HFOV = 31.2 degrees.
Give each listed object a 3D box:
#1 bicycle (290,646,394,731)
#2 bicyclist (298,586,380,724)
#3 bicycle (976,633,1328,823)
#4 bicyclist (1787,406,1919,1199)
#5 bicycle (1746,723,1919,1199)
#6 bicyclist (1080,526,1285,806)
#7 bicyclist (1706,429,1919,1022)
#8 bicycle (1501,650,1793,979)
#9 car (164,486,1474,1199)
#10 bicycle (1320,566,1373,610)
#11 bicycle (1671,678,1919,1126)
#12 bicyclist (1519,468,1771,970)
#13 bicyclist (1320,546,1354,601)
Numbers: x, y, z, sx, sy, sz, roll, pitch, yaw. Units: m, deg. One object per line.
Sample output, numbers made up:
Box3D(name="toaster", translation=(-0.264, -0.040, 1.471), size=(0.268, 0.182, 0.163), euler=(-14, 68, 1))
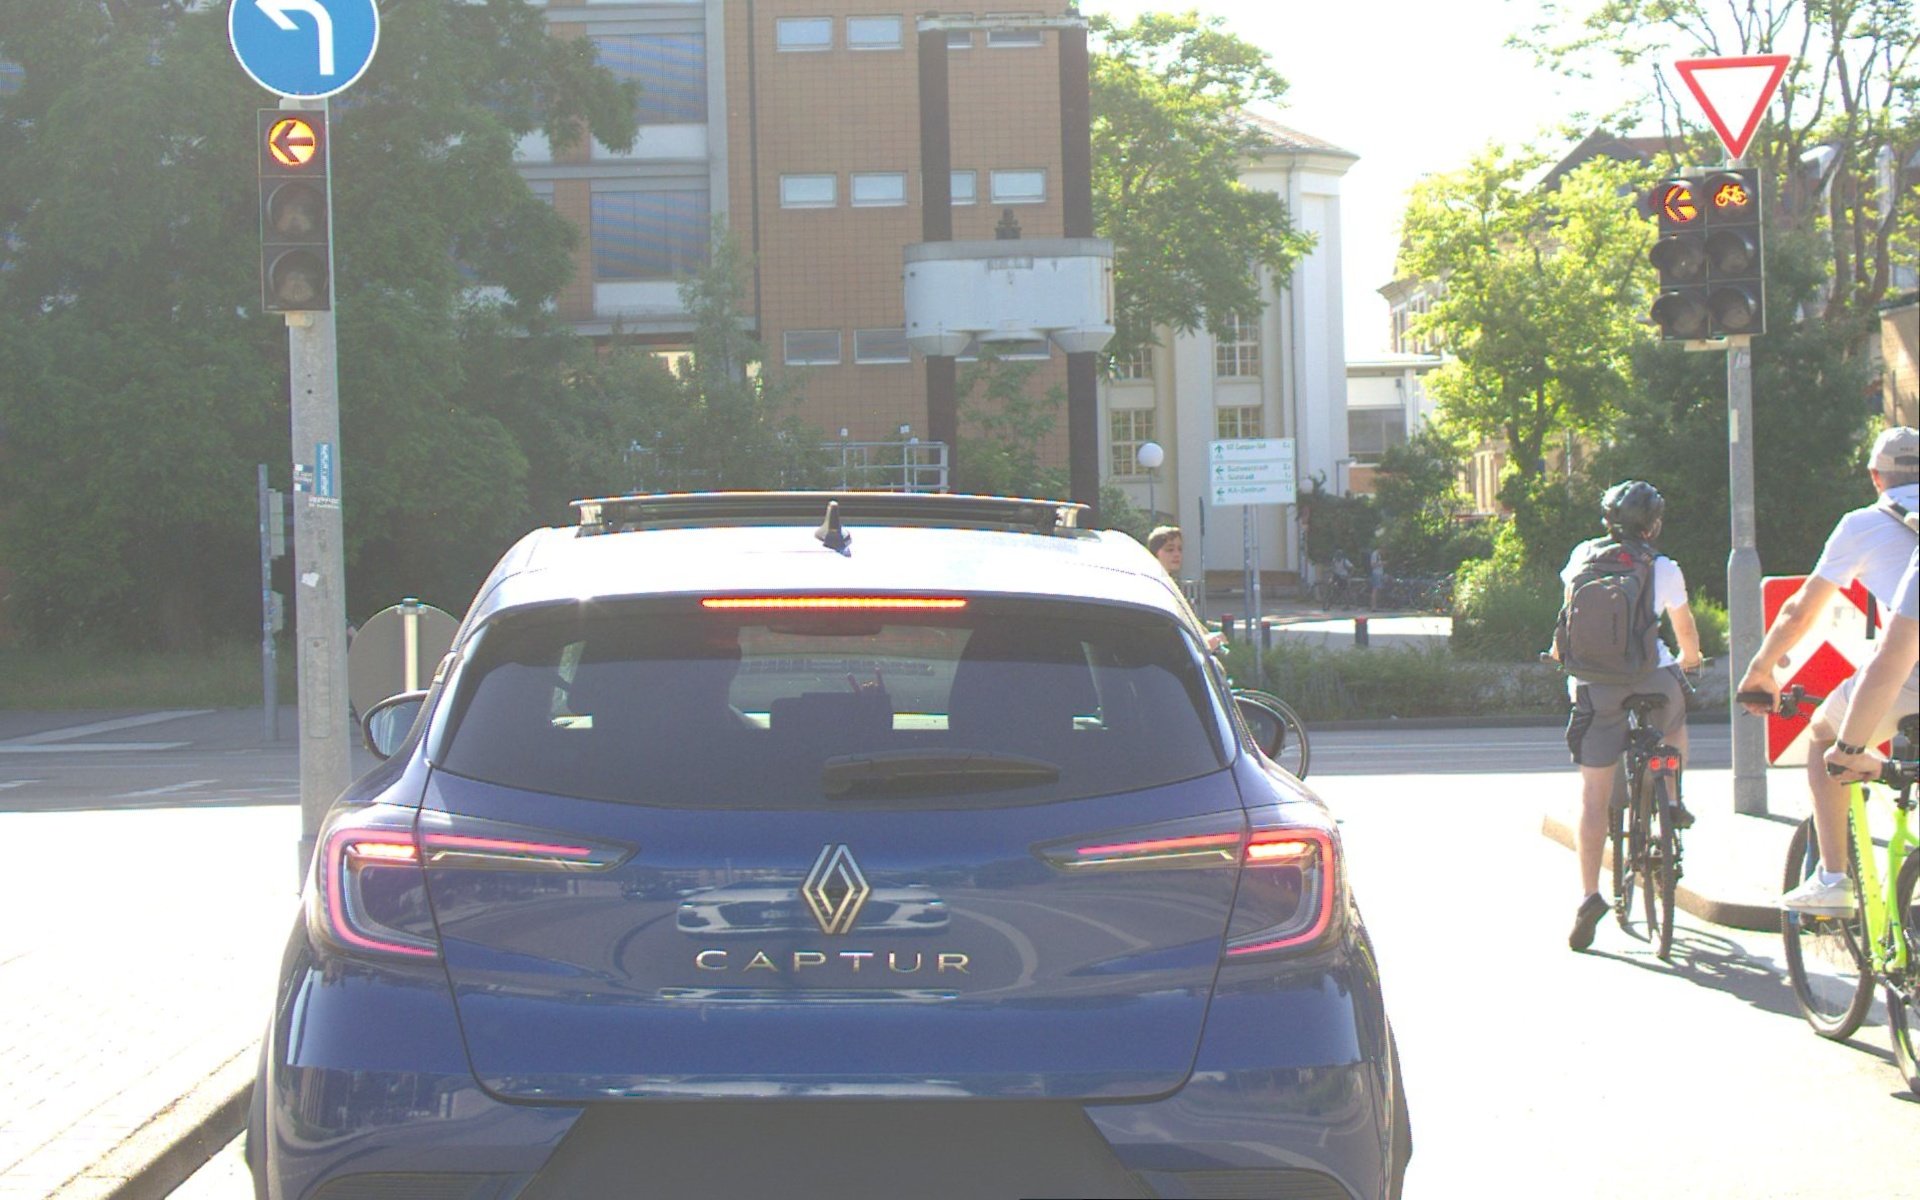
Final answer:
Box3D(name="bicycle", translation=(-7.883, 1.120, 43.915), size=(0.755, 0.981, 2.093), euler=(-1, 1, 5))
Box3D(name="bicyclist", translation=(-7.903, 0.689, 43.805), size=(0.755, 1.710, 0.998), euler=(-1, 1, 5))
Box3D(name="bicycle", translation=(1.091, 0.712, 19.312), size=(1.898, 0.970, 0.649), euler=(-2, 0, 7))
Box3D(name="bicyclist", translation=(2.233, 0.503, 7.265), size=(0.683, 1.785, 1.142), euler=(0, 1, -1))
Box3D(name="bicycle", translation=(2.228, 0.847, 7.225), size=(0.689, 1.085, 1.922), euler=(0, 1, -1))
Box3D(name="bicyclist", translation=(1.257, 0.365, 19.287), size=(1.051, 1.508, 0.641), euler=(-2, 0, 7))
Box3D(name="bicyclist", translation=(2.593, 0.329, 9.788), size=(0.678, 1.589, 1.142), euler=(0, 1, -1))
Box3D(name="bicycle", translation=(2.530, 0.756, 12.863), size=(0.689, 1.085, 1.922), euler=(0, 1, -1))
Box3D(name="car", translation=(-0.270, 0.611, 6.658), size=(1.788, 1.580, 3.915), euler=(0, 1, -2))
Box3D(name="bicycle", translation=(10.612, -0.334, 94.349), size=(0.695, 1.136, 2.438), euler=(-1, 1, 24))
Box3D(name="bicycle", translation=(2.585, 0.800, 9.824), size=(0.689, 1.085, 1.922), euler=(0, 1, -1))
Box3D(name="bicyclist", translation=(2.533, 0.416, 12.811), size=(0.699, 1.785, 1.142), euler=(0, 1, -1))
Box3D(name="bicyclist", translation=(10.256, -0.719, 93.566), size=(0.695, 1.476, 0.716), euler=(-1, 1, 25))
